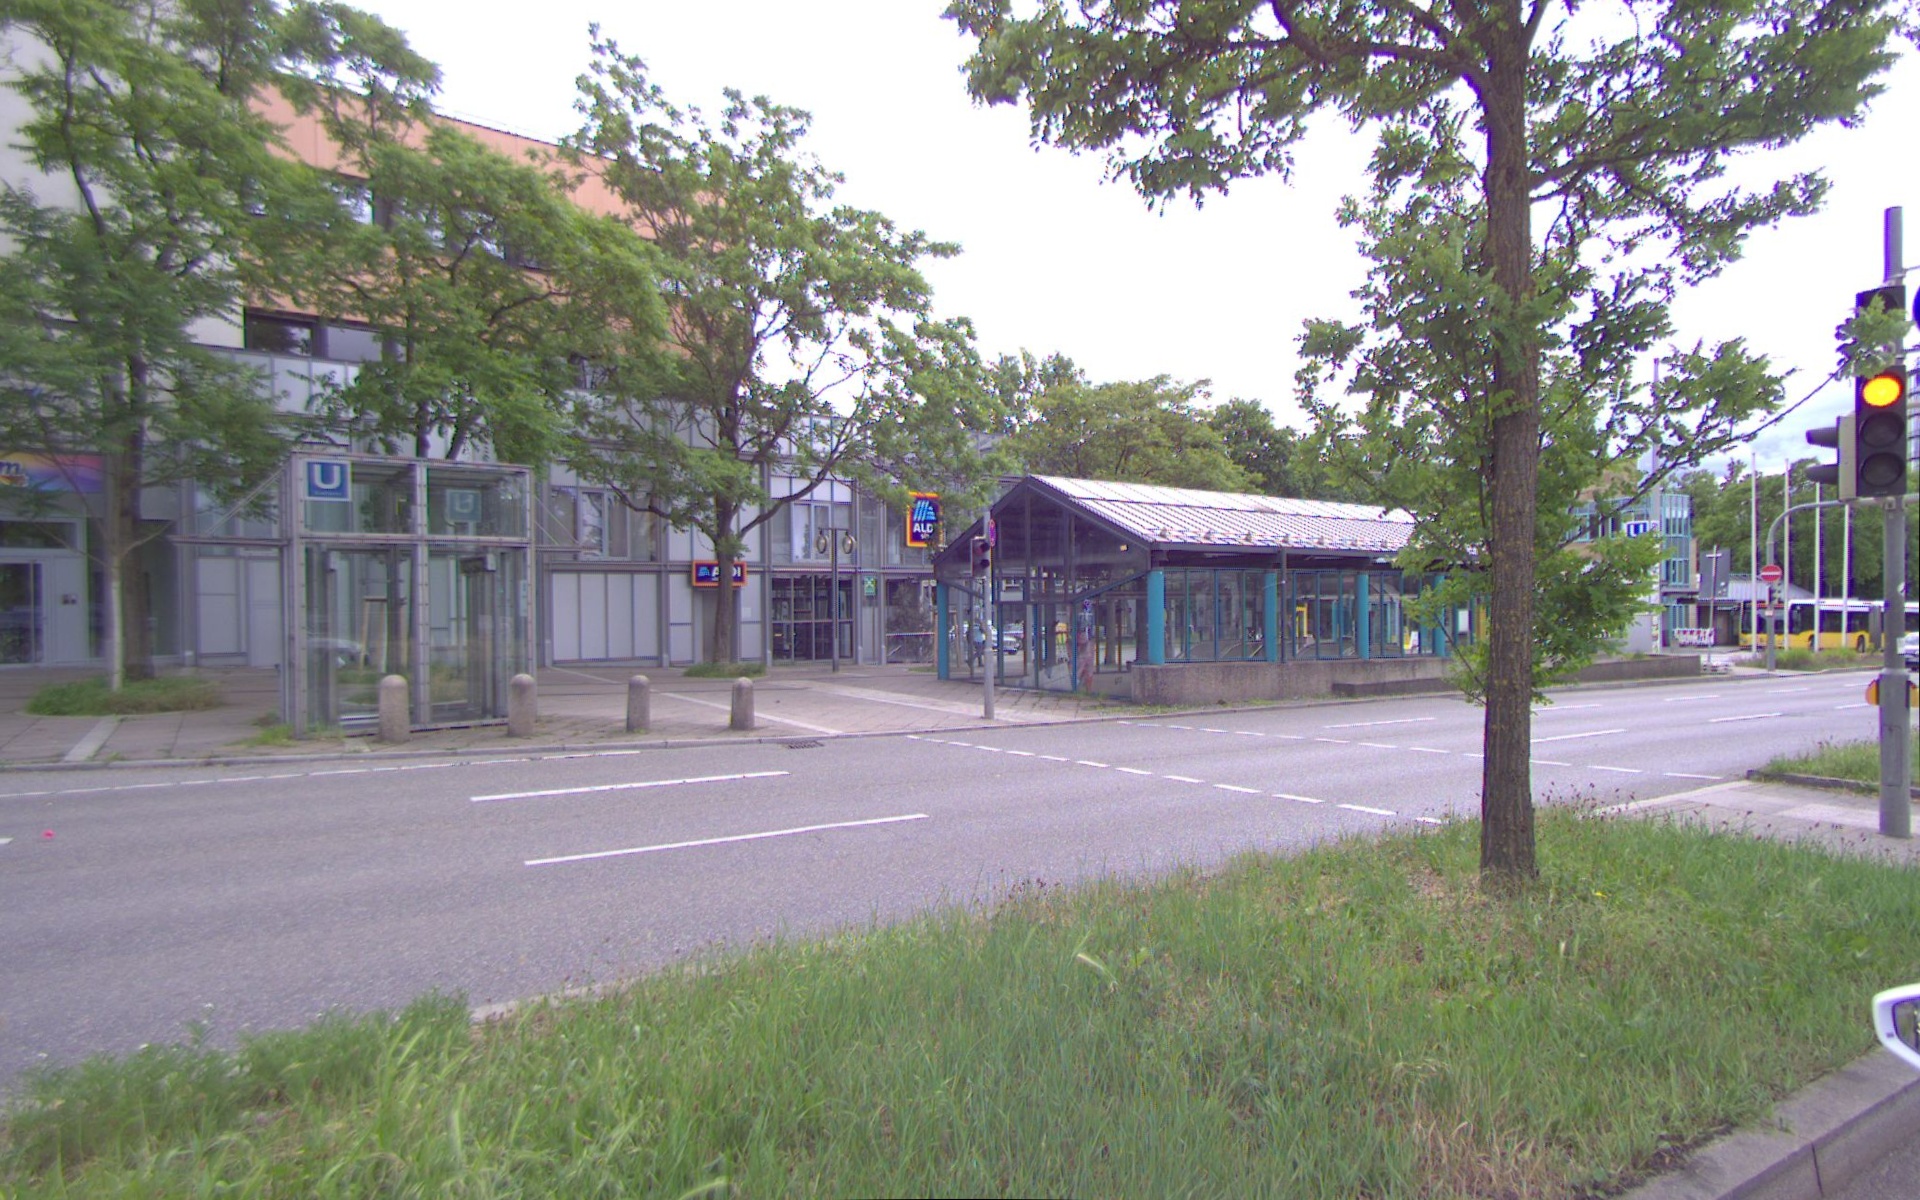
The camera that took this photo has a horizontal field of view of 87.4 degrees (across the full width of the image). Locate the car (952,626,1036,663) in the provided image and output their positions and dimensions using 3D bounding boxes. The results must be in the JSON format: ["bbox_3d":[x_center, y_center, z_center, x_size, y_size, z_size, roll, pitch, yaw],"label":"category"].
[{"bbox_3d":[1.652,2.195,50.377,1.769,1.710,4.838,1,-1,-33],"label":"car"}]

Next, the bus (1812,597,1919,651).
[{"bbox_3d":[57.921,1.554,63.769,7.771,3.313,2.980,1,-1,-26],"label":"bus"}]

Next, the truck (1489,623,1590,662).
[{"bbox_3d":[24.175,1.769,41.888,3.954,1.537,1.984,1,-1,-31],"label":"truck"}]

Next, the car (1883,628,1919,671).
[{"bbox_3d":[37.551,1.919,39.167,3.316,1.599,1.673,1,-1,-36],"label":"car"}]

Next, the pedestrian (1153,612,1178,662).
[{"bbox_3d":[7.124,1.277,34.849,0.649,1.689,0.635,2,0,-8],"label":"pedestrian"}]

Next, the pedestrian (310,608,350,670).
[{"bbox_3d":[-14.350,0.879,22.888,0.690,1.393,0.578,1,-1,-39],"label":"pedestrian"}]

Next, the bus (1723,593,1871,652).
[{"bbox_3d":[49.924,1.390,59.829,10.036,3.293,2.980,1,-1,-26],"label":"bus"}]

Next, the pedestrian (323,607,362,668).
[{"bbox_3d":[-14.502,0.877,23.584,0.690,1.393,0.578,1,-1,-39],"label":"pedestrian"}]

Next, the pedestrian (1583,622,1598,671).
[{"bbox_3d":[20.943,1.529,33.357,0.412,1.612,0.356,0,-1,31],"label":"pedestrian"}]

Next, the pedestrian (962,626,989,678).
[{"bbox_3d":[0.520,1.684,32.978,0.703,1.677,0.517,1,-1,-37],"label":"pedestrian"}]
